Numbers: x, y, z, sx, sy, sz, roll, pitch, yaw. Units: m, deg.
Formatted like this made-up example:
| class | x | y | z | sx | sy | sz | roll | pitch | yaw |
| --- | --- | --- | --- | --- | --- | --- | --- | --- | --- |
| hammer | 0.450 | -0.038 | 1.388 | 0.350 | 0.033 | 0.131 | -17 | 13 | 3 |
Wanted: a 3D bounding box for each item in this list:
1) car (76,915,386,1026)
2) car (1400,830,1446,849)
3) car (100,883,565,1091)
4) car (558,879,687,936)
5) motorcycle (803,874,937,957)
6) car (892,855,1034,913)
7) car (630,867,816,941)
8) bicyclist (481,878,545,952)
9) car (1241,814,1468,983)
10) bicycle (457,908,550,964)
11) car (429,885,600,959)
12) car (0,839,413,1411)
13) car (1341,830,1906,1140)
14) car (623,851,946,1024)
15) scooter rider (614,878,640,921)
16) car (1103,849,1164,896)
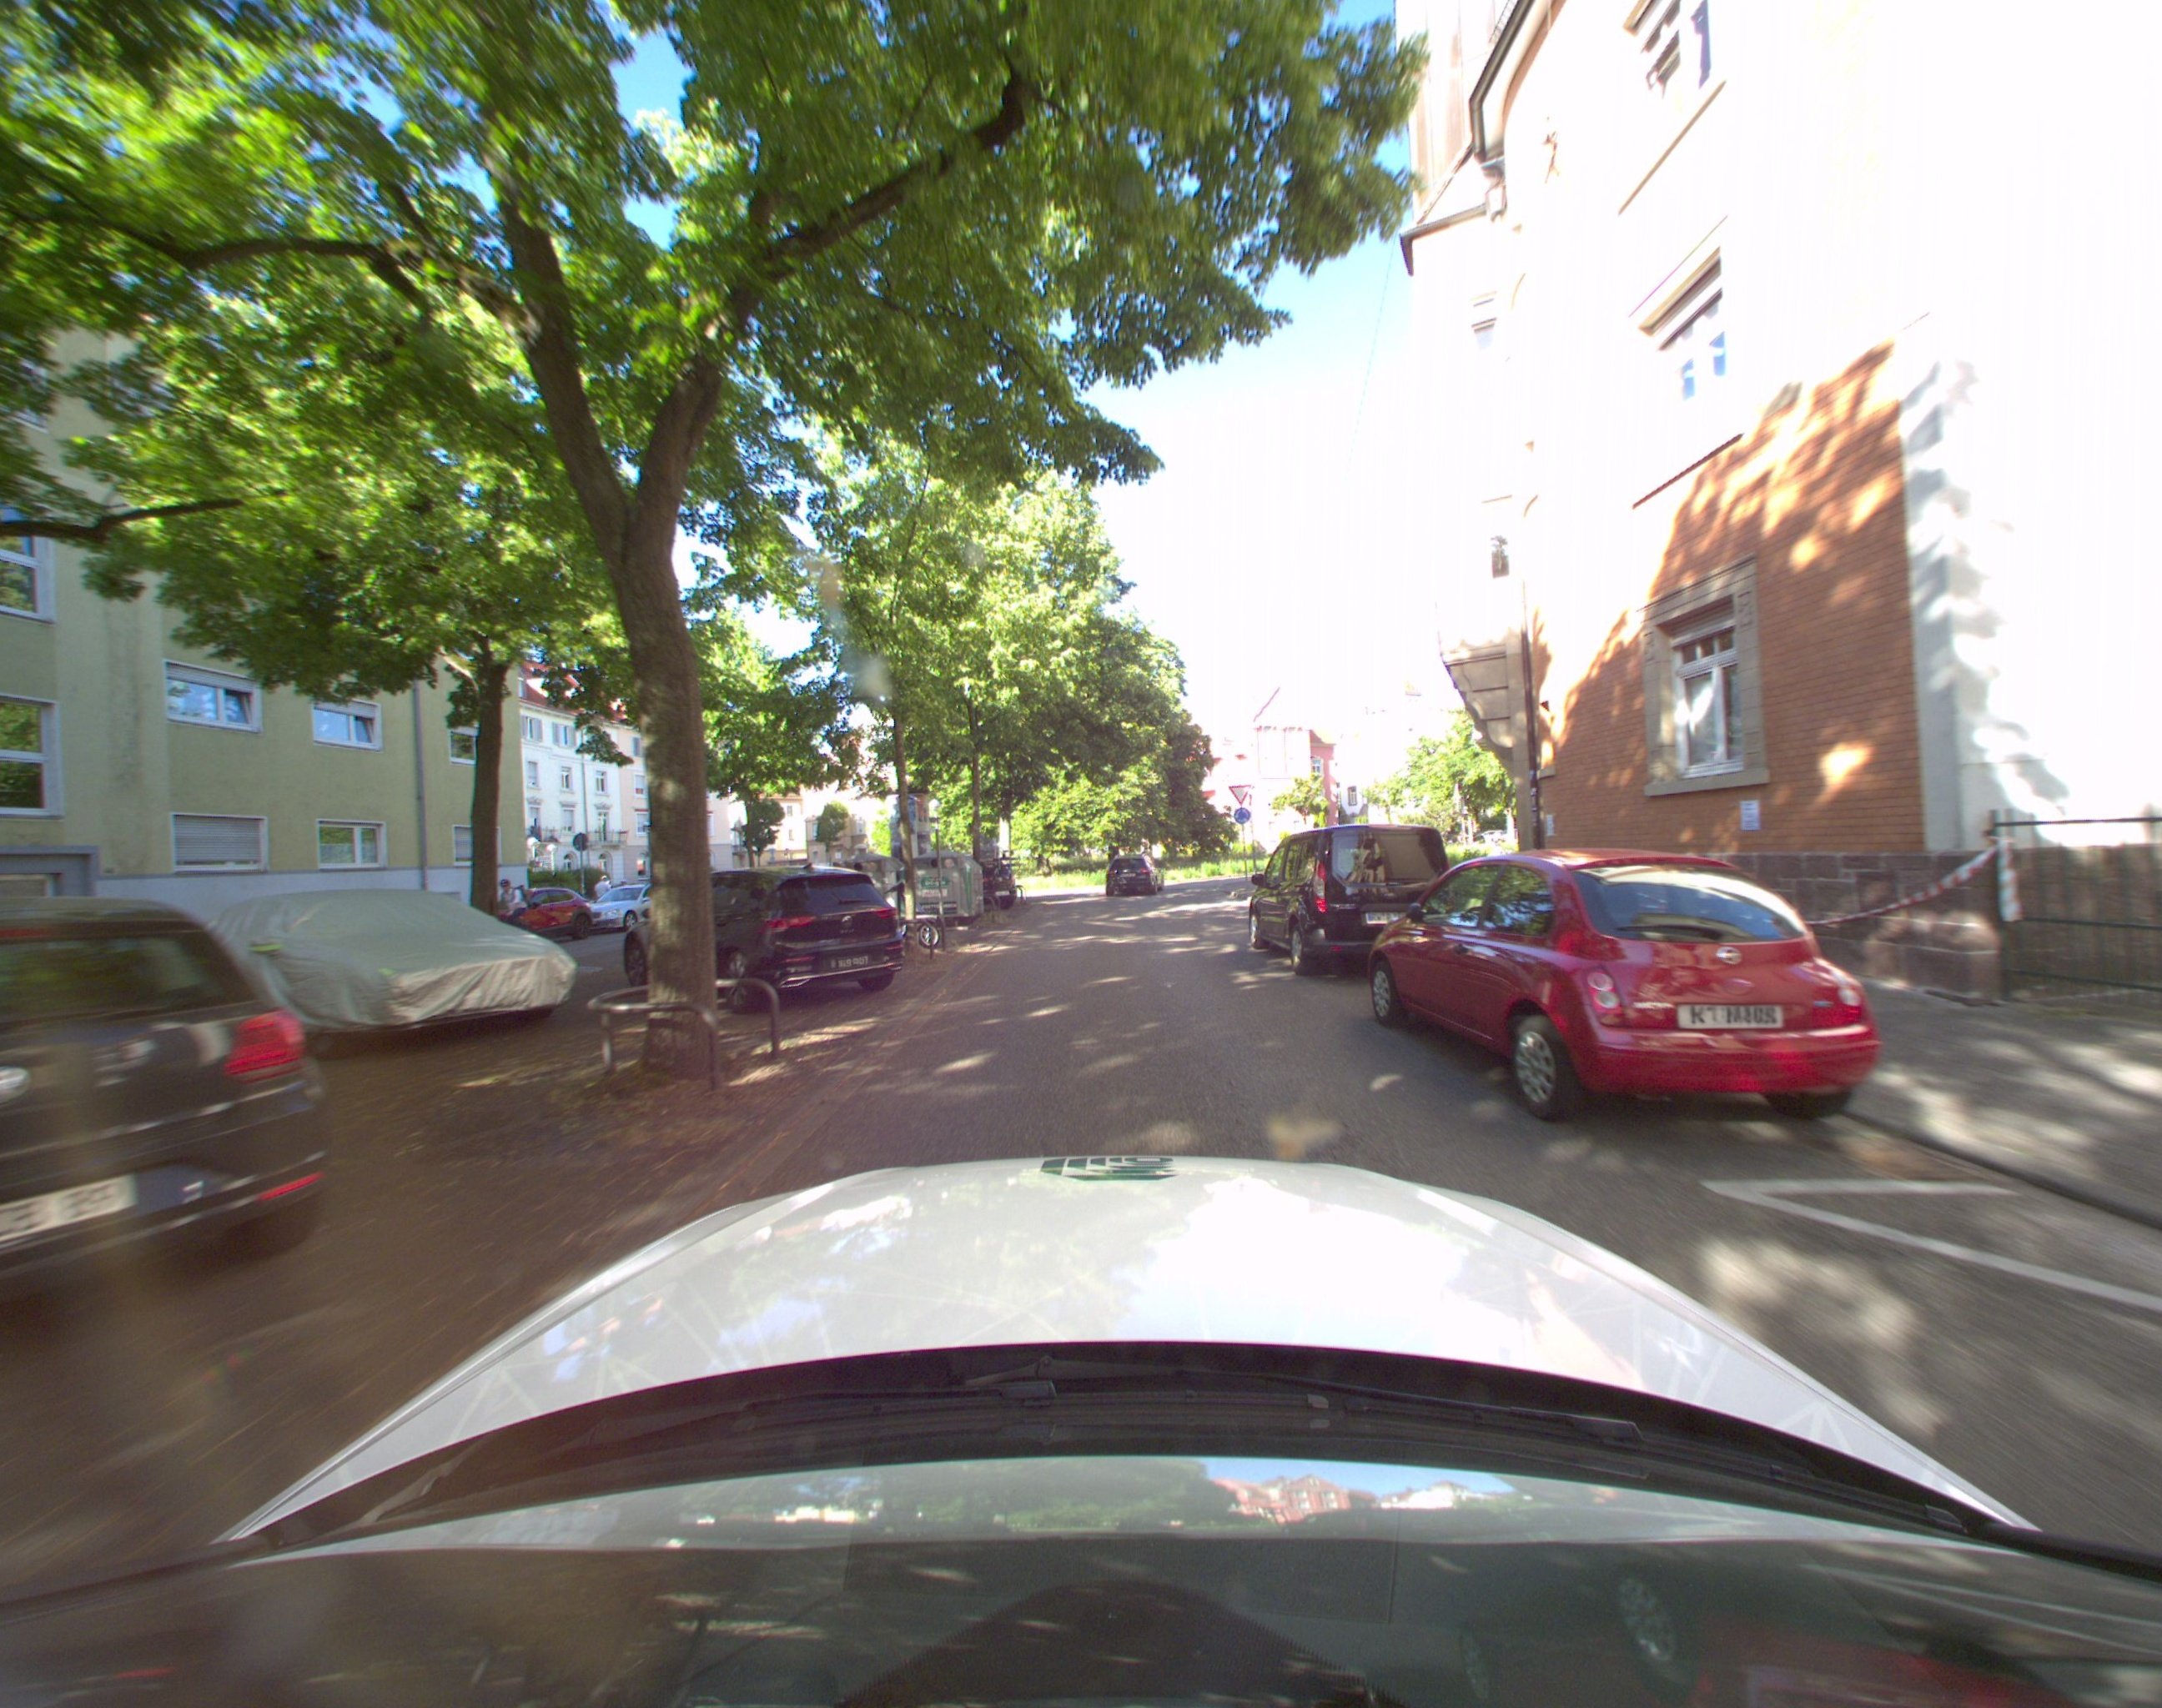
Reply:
| class | x | y | z | sx | sy | sz | roll | pitch | yaw |
| --- | --- | --- | --- | --- | --- | --- | --- | --- | --- |
| car | -14.934 | 1.967 | 14.636 | 1.579 | 1.321 | 3.642 | -5 | 0 | 1 |
| car | 30.790 | -1.263 | 73.255 | 3.985 | 1.455 | 1.547 | -4 | 0 | -27 |
| car | -7.109 | 1.068 | 7.716 | 4.051 | 1.466 | 1.878 | -2 | -1 | 26 |
| car | -14.726 | 1.673 | 26.442 | 1.771 | 1.525 | 4.002 | -2 | 0 | 2 |
| motorcycle | -3.339 | 0.971 | 12.983 | 1.931 | 1.171 | 0.518 | -3 | 0 | 1 |
| car | -3.442 | 0.871 | 23.383 | 4.089 | 1.481 | 1.787 | -3 | -1 | 42 |
| car | -8.601 | 1.185 | 19.648 | 3.761 | 1.466 | 1.651 | -4 | 0 | 13 |
| bicyclist | -13.225 | 1.407 | 18.981 | 0.712 | 1.621 | 0.929 | -3 | 0 | 5 |
| car | 3.475 | 0.494 | 11.243 | 1.795 | 1.871 | 4.274 | 0 | 0 | 1 |
| bicycle | -13.168 | 1.846 | 18.655 | 0.597 | 1.034 | 1.916 | -3 | 0 | 4 |
| car | -14.754 | 1.700 | 21.528 | 1.524 | 1.526 | 4.166 | -3 | 0 | 0 |
| car | -4.559 | 0.819 | 3.286 | 3.690 | 1.582 | 1.647 | -2 | 0 | 30 |
| car | 3.364 | 0.655 | 6.090 | 1.639 | 1.537 | 4.001 | 1 | 0 | 1 |
| car | -3.615 | 0.813 | 9.534 | 4.101 | 1.554 | 1.844 | -2 | 0 | 43 |
| scooter rider | -16.870 | 1.697 | 30.234 | 0.518 | 1.529 | 0.611 | -4 | 0 | 39 |
| car | 2.021 | 0.644 | 30.089 | 1.703 | 1.483 | 4.157 | -4 | 0 | 10 |
